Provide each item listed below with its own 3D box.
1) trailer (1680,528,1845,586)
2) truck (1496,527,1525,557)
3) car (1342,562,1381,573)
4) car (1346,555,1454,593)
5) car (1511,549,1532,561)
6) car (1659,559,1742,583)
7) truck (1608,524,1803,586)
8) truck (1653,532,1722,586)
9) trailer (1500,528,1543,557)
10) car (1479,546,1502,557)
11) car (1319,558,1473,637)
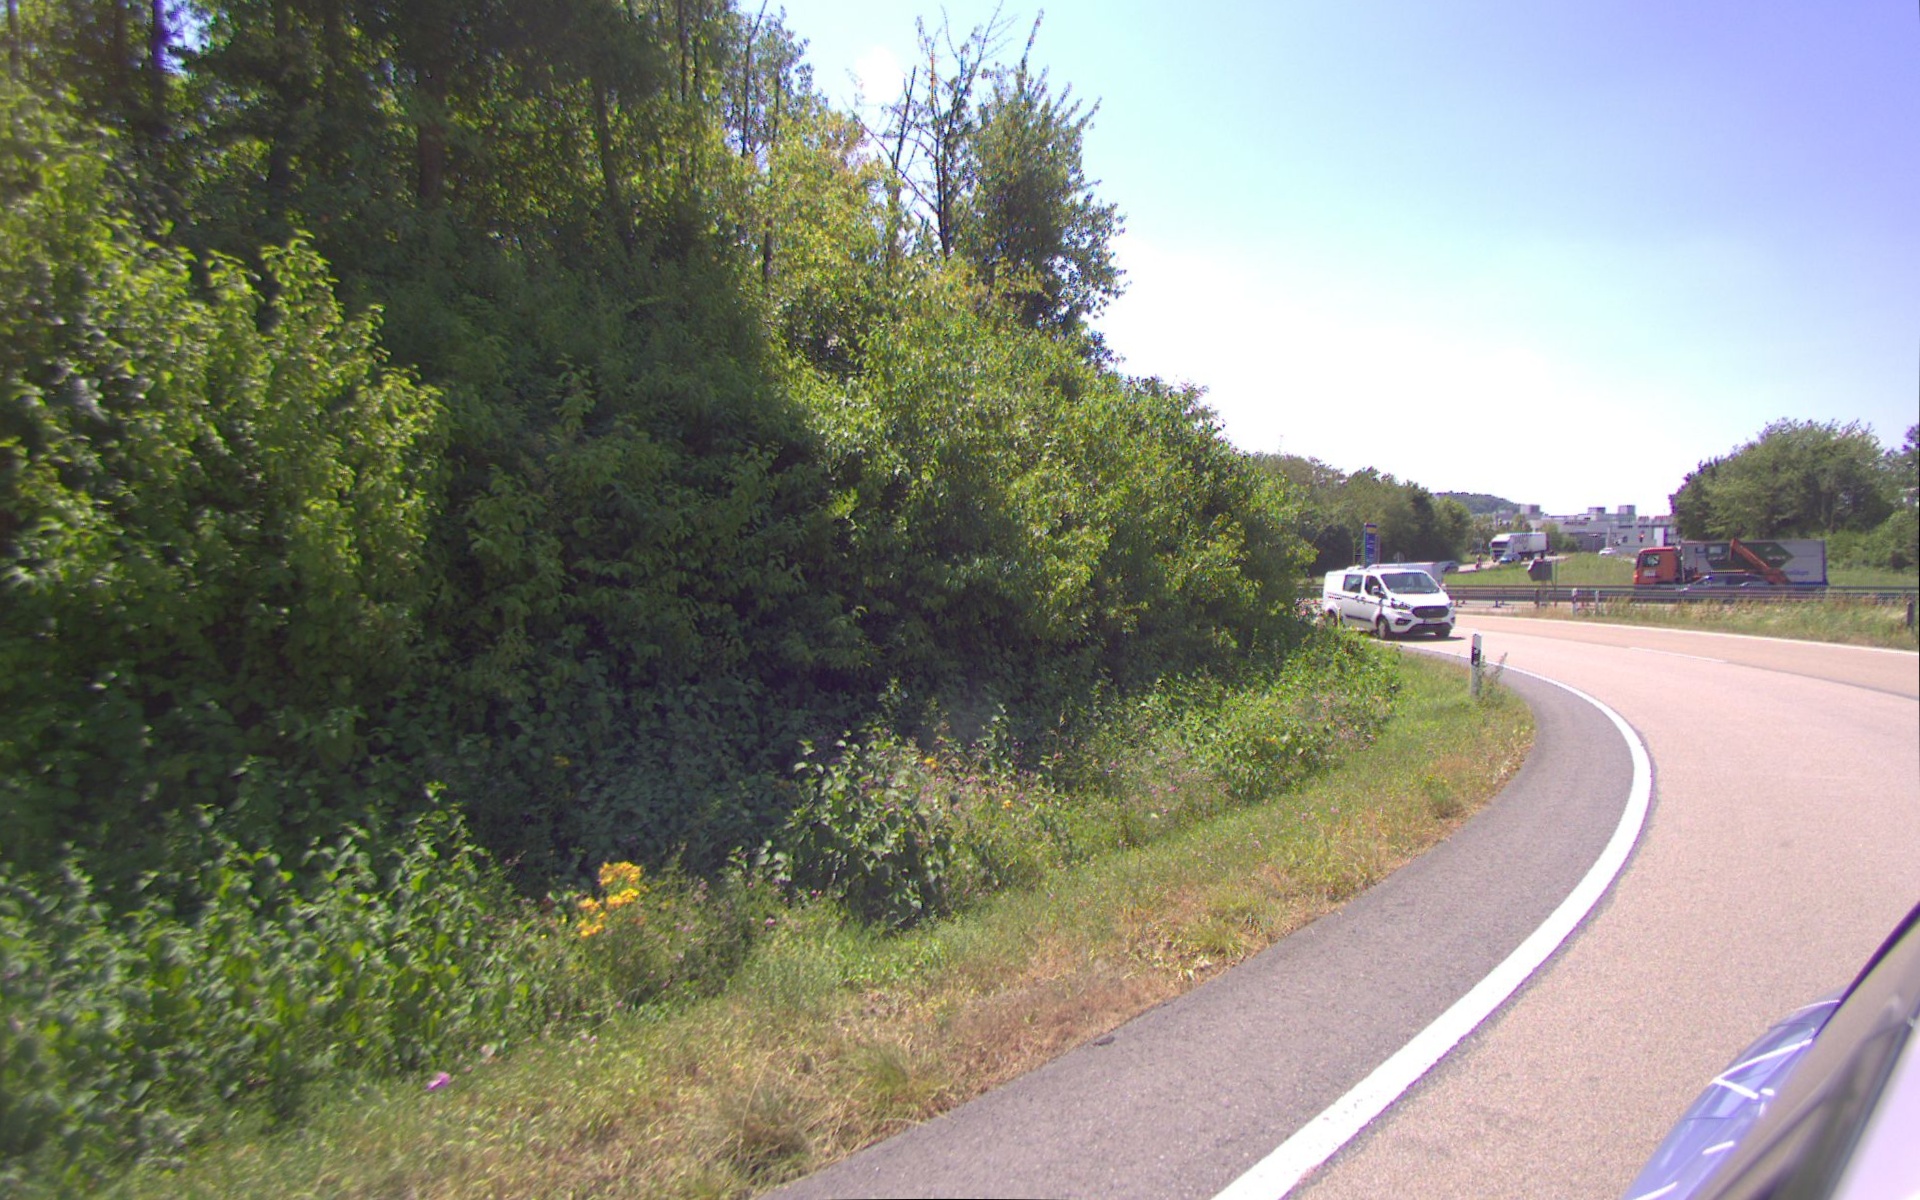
[{"bbox_3d":[45.343,-2.370,57.369,7.196,3.047,2.270,0,1,43],"label":"trailer"},{"bbox_3d":[80.092,-8.488,147.307,2.822,4.210,3.939,0,2,44],"label":"truck"},{"bbox_3d":[44.055,-3.521,111.062,3.991,1.180,1.536,-1,1,-22],"label":"car"},{"bbox_3d":[30.898,-1.798,71.301,6.677,2.569,2.130,1,2,45],"label":"car"},{"bbox_3d":[75.976,-6.108,136.946,1.595,1.450,3.513,0,1,44],"label":"car"},{"bbox_3d":[37.065,-1.426,50.691,3.235,1.163,1.212,1,1,44],"label":"car"},{"bbox_3d":[39.500,-2.336,53.839,8.169,3.100,2.565,1,2,41],"label":"truck"},{"bbox_3d":[42.914,-2.378,59.722,3.066,3.047,2.280,0,1,43],"label":"truck"},{"bbox_3d":[84.428,-8.614,151.935,2.815,4.210,12.066,0,2,43],"label":"trailer"},{"bbox_3d":[69.270,-6.317,132.078,3.510,1.450,1.597,-1,1,-43],"label":"car"},{"bbox_3d":[12.956,-0.132,30.507,2.023,2.038,5.047,-4,2,-5],"label":"car"}]
